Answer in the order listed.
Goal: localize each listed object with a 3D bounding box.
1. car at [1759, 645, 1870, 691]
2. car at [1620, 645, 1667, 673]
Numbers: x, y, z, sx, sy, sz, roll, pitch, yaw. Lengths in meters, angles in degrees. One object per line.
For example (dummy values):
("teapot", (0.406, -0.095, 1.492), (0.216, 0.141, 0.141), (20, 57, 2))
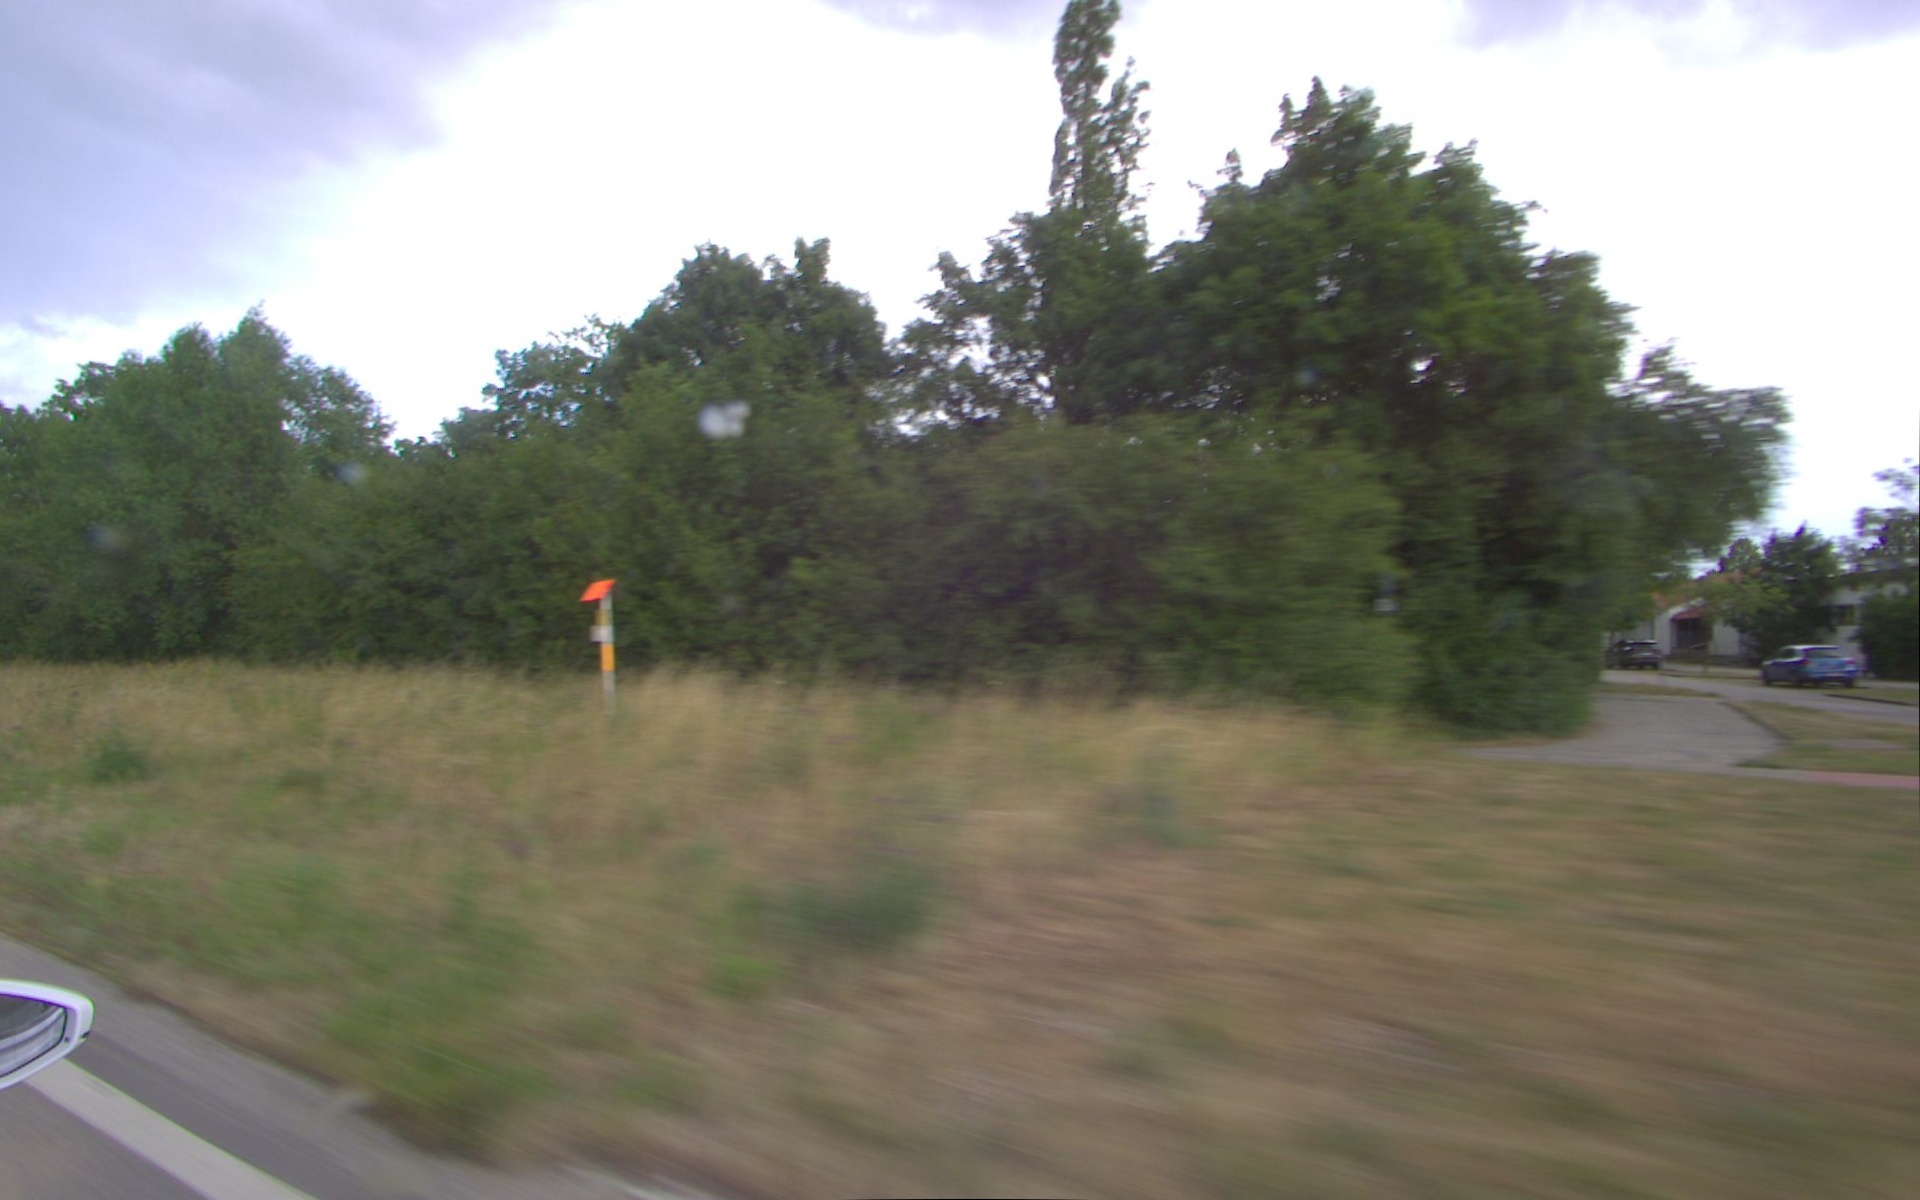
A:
("car", (29.263, 2.285, 34.430), (1.799, 1.482, 3.698), (-1, -2, 22))
("car", (37.602, 3.197, 55.136), (1.803, 1.482, 3.691), (-1, -3, 30))
